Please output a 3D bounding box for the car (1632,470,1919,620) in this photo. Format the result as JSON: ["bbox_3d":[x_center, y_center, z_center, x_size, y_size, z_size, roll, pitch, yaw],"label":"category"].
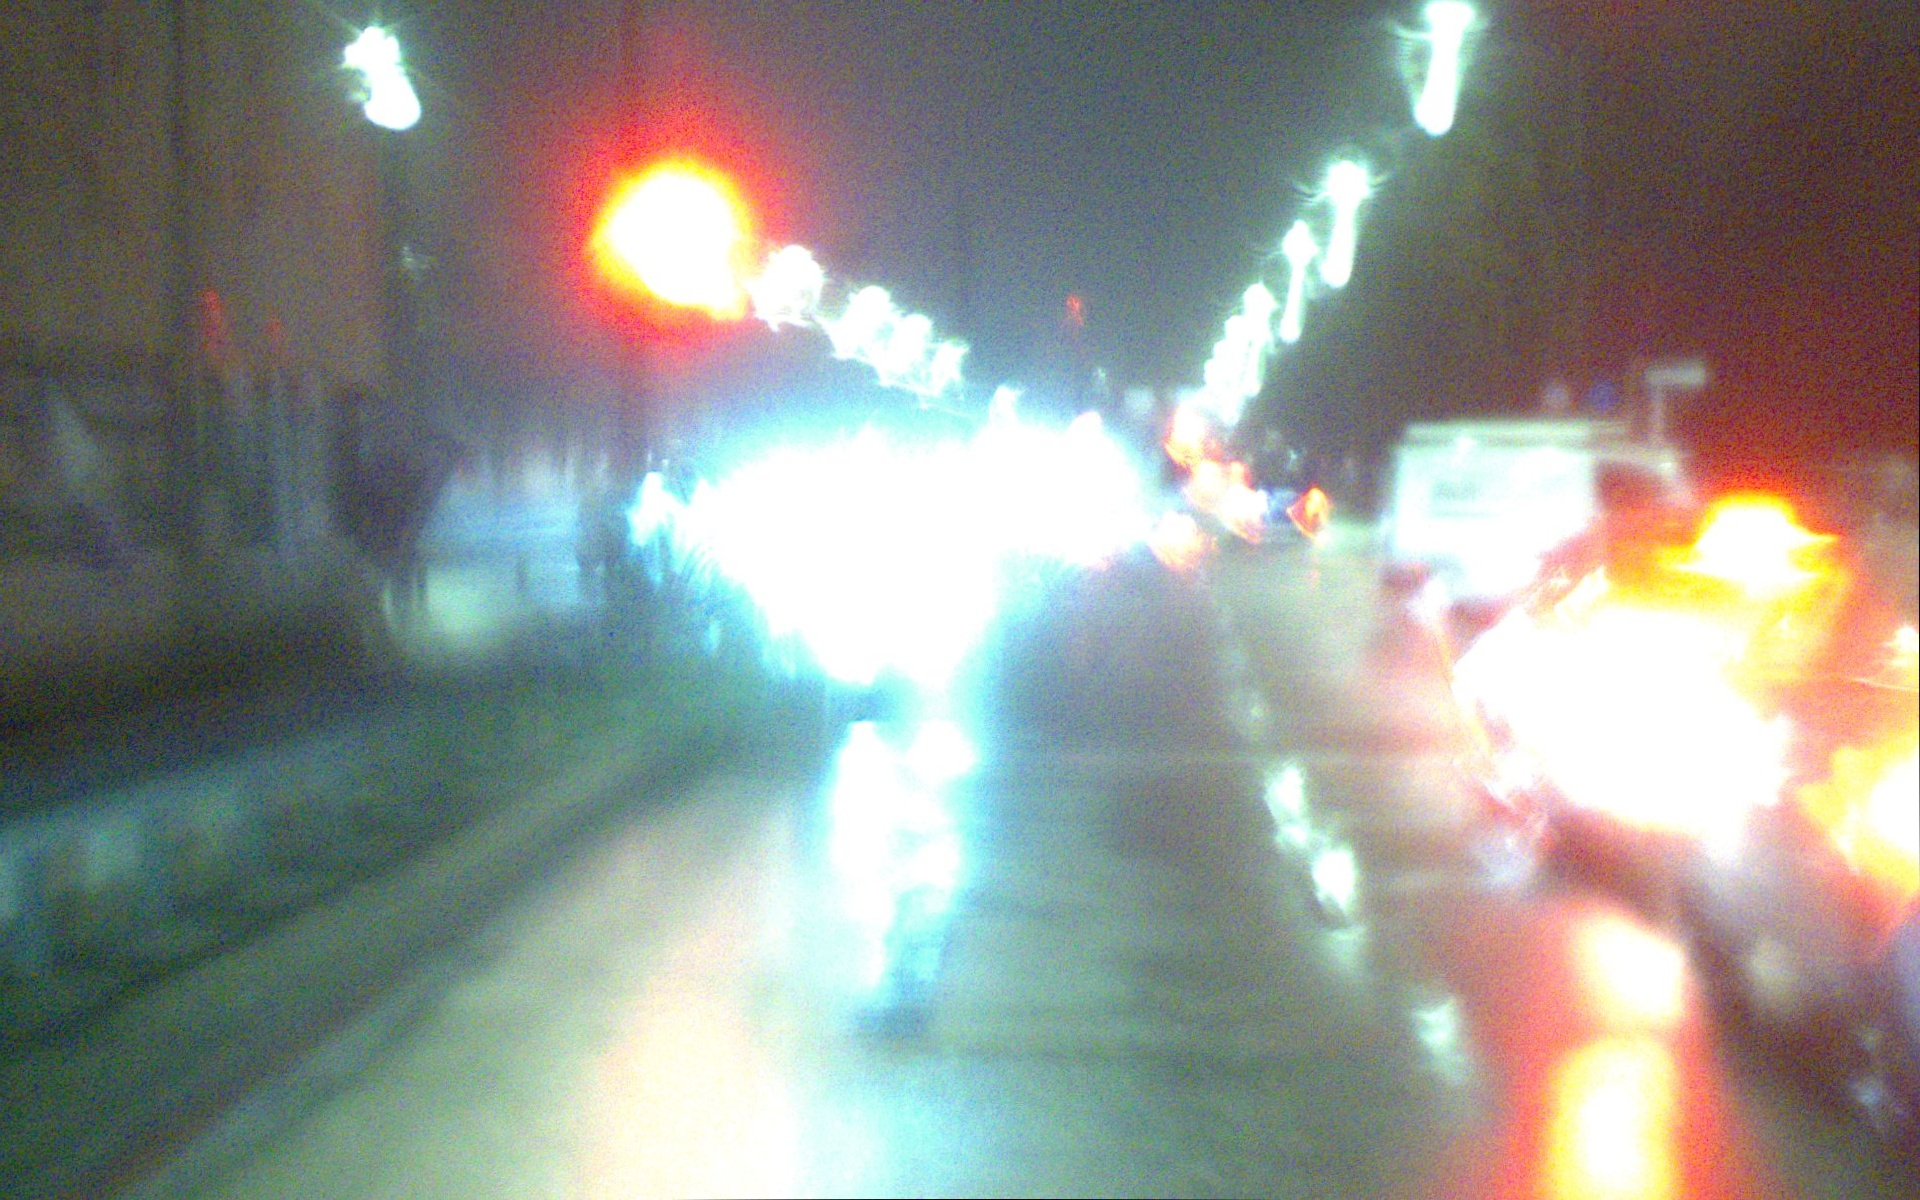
[{"bbox_3d":[9.913,-0.620,38.360,4.375,1.617,1.834,1,1,31],"label":"car"}]

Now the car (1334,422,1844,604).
[{"bbox_3d":[6.435,-0.881,35.258,4.829,1.763,1.834,1,1,26],"label":"car"}]

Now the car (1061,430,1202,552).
[{"bbox_3d":[3.138,-1.999,63.857,2.441,2.186,5.079,0,1,1],"label":"car"}]

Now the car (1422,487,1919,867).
[{"bbox_3d":[3.181,0.248,15.588,1.720,1.441,4.383,-2,1,3],"label":"car"}]

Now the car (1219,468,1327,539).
[{"bbox_3d":[7.002,-2.150,77.182,2.091,1.540,4.307,0,1,1],"label":"car"}]

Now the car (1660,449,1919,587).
[{"bbox_3d":[12.940,-1.229,51.784,4.299,2.007,2.042,1,1,28],"label":"car"}]

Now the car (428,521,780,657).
[{"bbox_3d":[-4.552,-0.173,43.648,4.424,1.643,1.833,1,1,38],"label":"car"}]

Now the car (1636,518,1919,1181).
[{"bbox_3d":[3.039,0.495,9.532,1.720,1.441,4.162,0,1,3],"label":"car"}]

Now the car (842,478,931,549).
[{"bbox_3d":[-1.740,-1.997,79.963,1.901,1.612,4.515,0,1,-3],"label":"car"}]
